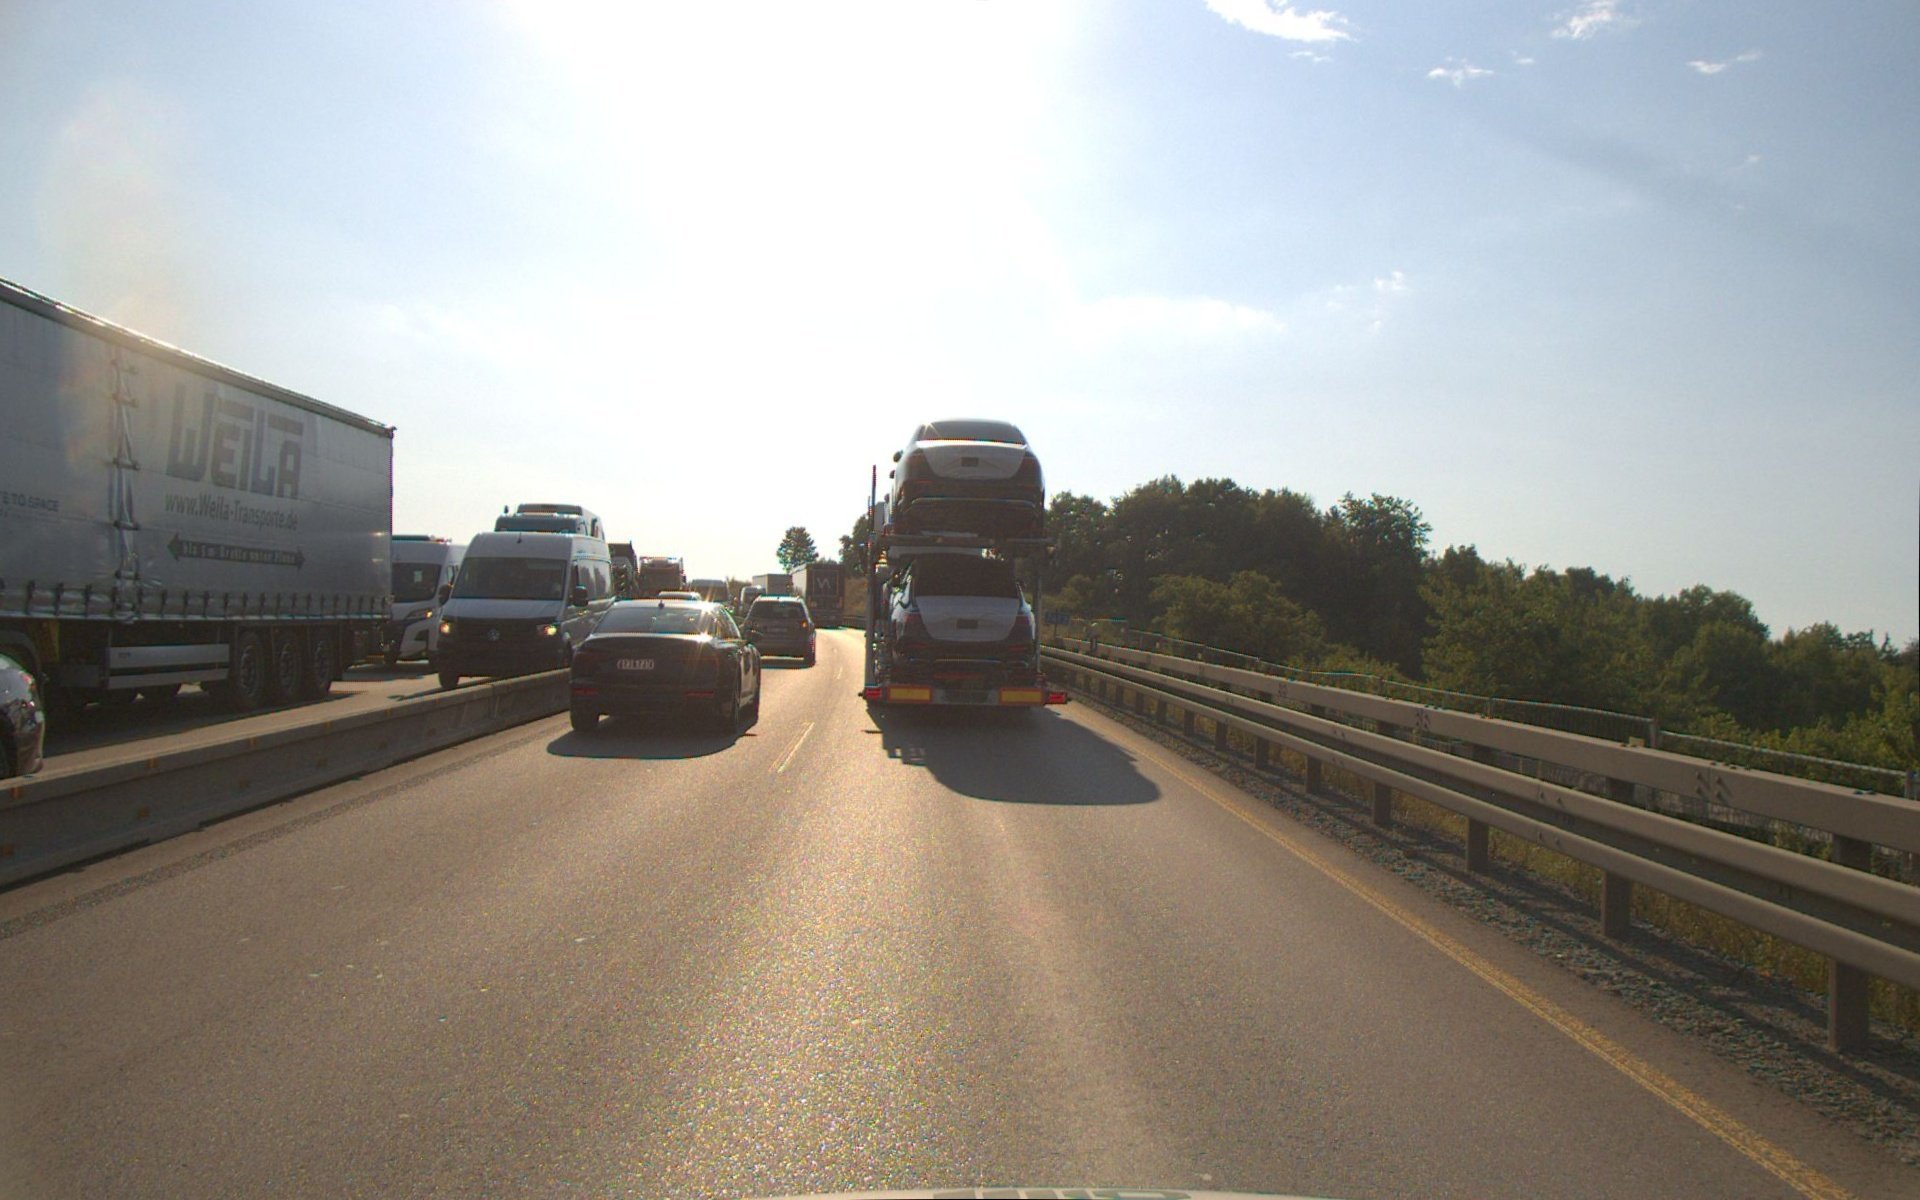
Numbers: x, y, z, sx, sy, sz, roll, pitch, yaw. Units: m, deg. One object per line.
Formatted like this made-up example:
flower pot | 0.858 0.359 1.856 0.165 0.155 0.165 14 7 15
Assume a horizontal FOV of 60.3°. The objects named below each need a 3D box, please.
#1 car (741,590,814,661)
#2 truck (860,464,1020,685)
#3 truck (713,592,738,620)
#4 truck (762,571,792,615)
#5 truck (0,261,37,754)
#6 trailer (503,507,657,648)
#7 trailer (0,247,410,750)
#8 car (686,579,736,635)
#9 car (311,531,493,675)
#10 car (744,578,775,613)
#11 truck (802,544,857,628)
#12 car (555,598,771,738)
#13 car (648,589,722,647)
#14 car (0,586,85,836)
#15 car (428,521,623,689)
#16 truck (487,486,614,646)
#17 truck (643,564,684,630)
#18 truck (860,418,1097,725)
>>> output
car | -4.436 0.596 40.418 1.659 1.624 3.995 1 0 -6
truck | -0.581 -0.435 34.102 2.781 3.858 9.981 1 0 -3
truck | -27.246 0.713 192.545 2.541 3.226 6.668 1 0 -6
truck | -15.902 -0.577 143.960 2.482 3.712 8.894 1 0 -6
truck | -9.238 -0.790 11.529 2.452 4.137 5.663 1 0 -1
trailer | -12.058 -0.610 54.053 2.642 3.941 15.375 1 0 -5
trailer | -9.410 -0.842 18.592 2.261 4.203 14.592 1 0 -3
car | -11.792 0.313 78.565 2.064 2.526 6.058 1 0 -6
car | -10.943 0.062 32.932 2.115 2.602 5.583 1 0 -5
car | -15.045 -0.311 124.090 1.882 2.536 5.405 1 0 -3
truck | -8.839 -0.896 110.780 3.223 5.328 9.920 1 0 -7
car | -3.382 0.711 19.785 1.896 1.423 4.958 1 0 -3
car | -8.623 0.543 52.158 1.833 1.724 4.592 1 0 -4
car | -6.207 0.609 7.757 1.723 1.402 4.766 1 0 -1
car | -7.286 0.091 28.520 2.016 2.544 6.769 1 0 -4
truck | -11.280 -0.876 46.035 2.454 4.137 5.878 1 0 -4
truck | -17.805 -0.142 98.926 2.272 3.670 11.939 1 0 -11
truck | -0.070 -0.315 24.643 2.743 3.558 10.598 1 0 -3
